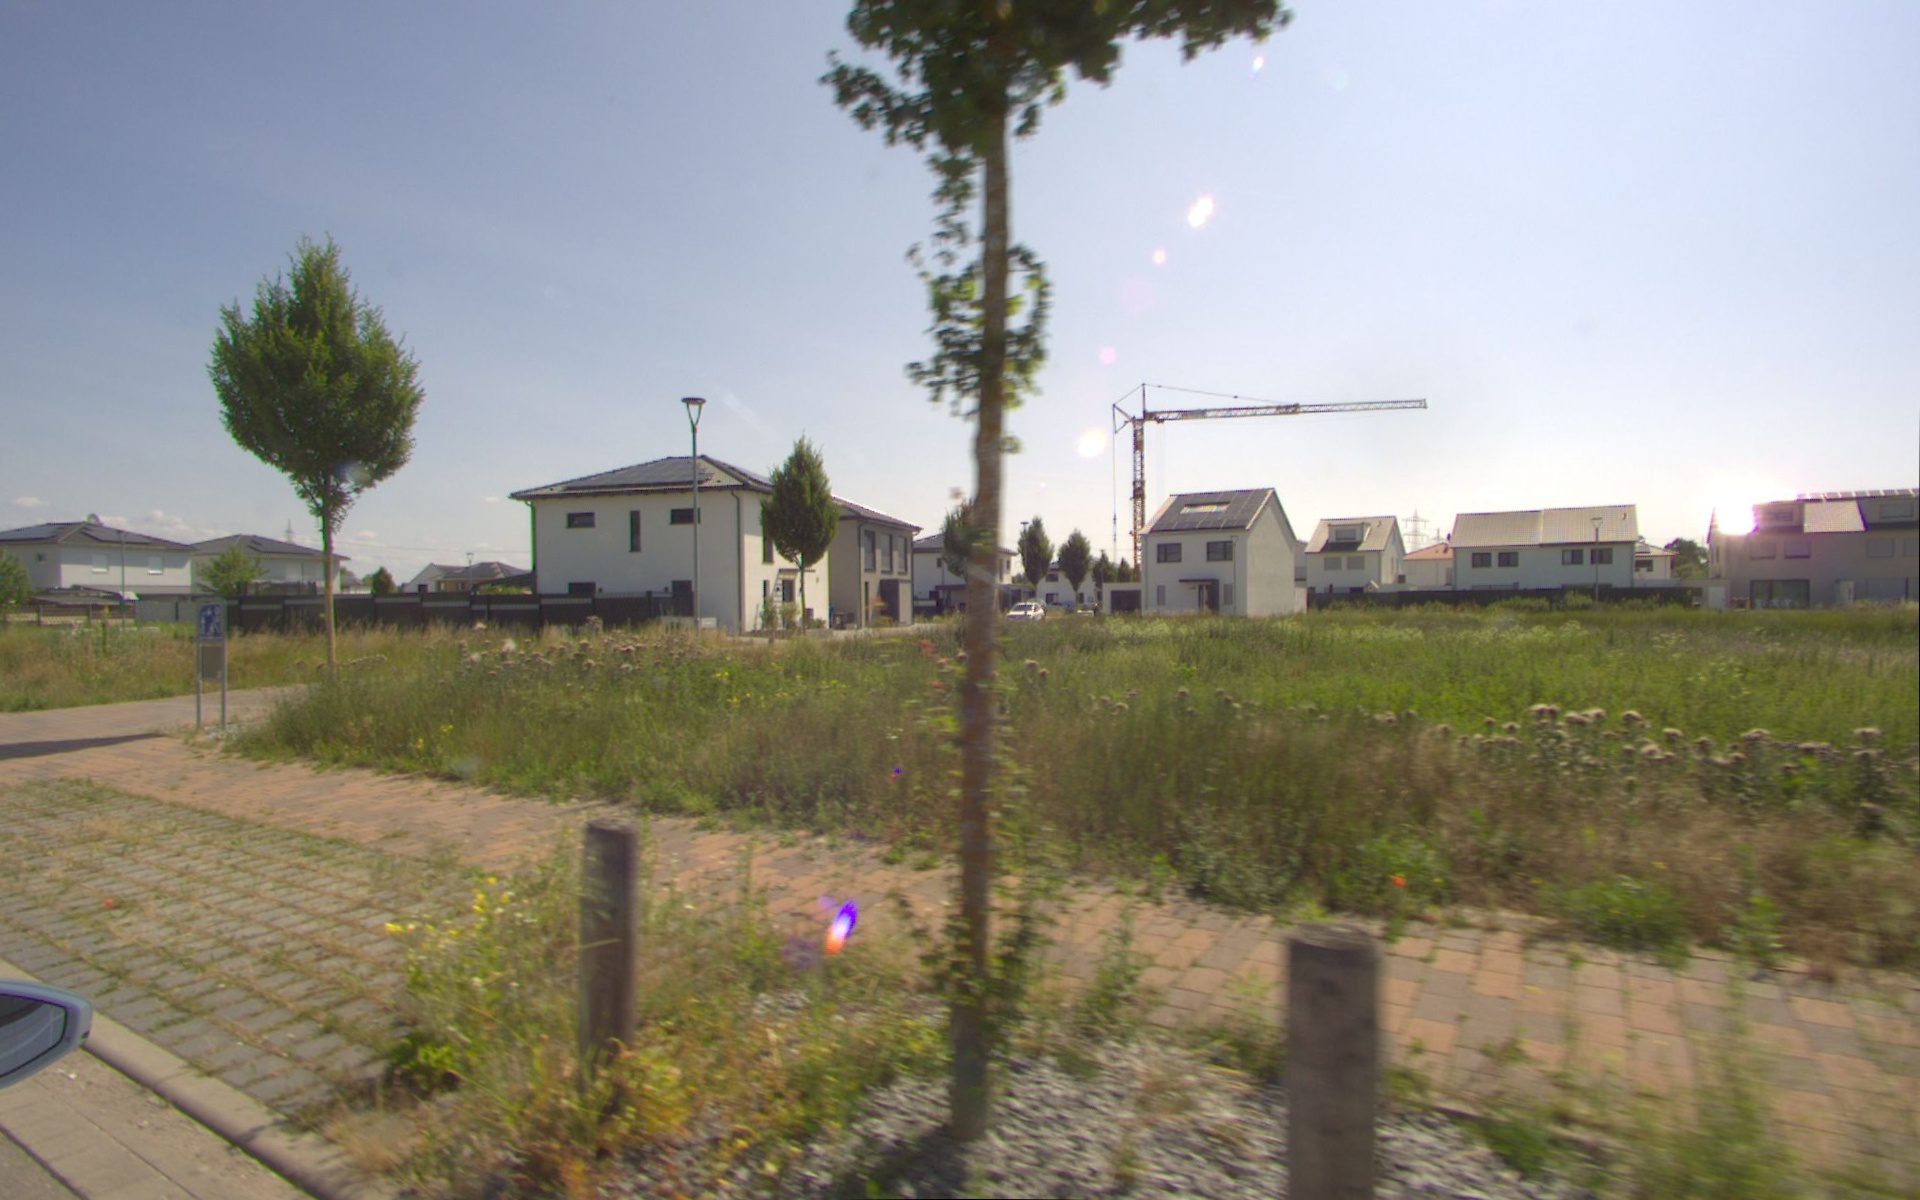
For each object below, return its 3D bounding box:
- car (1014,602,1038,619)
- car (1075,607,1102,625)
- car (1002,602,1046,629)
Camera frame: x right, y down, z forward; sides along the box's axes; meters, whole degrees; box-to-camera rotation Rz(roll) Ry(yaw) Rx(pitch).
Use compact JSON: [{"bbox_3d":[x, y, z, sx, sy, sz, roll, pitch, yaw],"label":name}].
[{"bbox_3d":[5.783,0.903,87.551,1.564,1.510,3.367,0,0,14],"label":"car"},{"bbox_3d":[10.734,1.306,83.218,1.710,1.461,3.826,0,0,15],"label":"car"},{"bbox_3d":[3.617,0.842,56.063,1.710,1.461,3.826,0,0,15],"label":"car"}]
